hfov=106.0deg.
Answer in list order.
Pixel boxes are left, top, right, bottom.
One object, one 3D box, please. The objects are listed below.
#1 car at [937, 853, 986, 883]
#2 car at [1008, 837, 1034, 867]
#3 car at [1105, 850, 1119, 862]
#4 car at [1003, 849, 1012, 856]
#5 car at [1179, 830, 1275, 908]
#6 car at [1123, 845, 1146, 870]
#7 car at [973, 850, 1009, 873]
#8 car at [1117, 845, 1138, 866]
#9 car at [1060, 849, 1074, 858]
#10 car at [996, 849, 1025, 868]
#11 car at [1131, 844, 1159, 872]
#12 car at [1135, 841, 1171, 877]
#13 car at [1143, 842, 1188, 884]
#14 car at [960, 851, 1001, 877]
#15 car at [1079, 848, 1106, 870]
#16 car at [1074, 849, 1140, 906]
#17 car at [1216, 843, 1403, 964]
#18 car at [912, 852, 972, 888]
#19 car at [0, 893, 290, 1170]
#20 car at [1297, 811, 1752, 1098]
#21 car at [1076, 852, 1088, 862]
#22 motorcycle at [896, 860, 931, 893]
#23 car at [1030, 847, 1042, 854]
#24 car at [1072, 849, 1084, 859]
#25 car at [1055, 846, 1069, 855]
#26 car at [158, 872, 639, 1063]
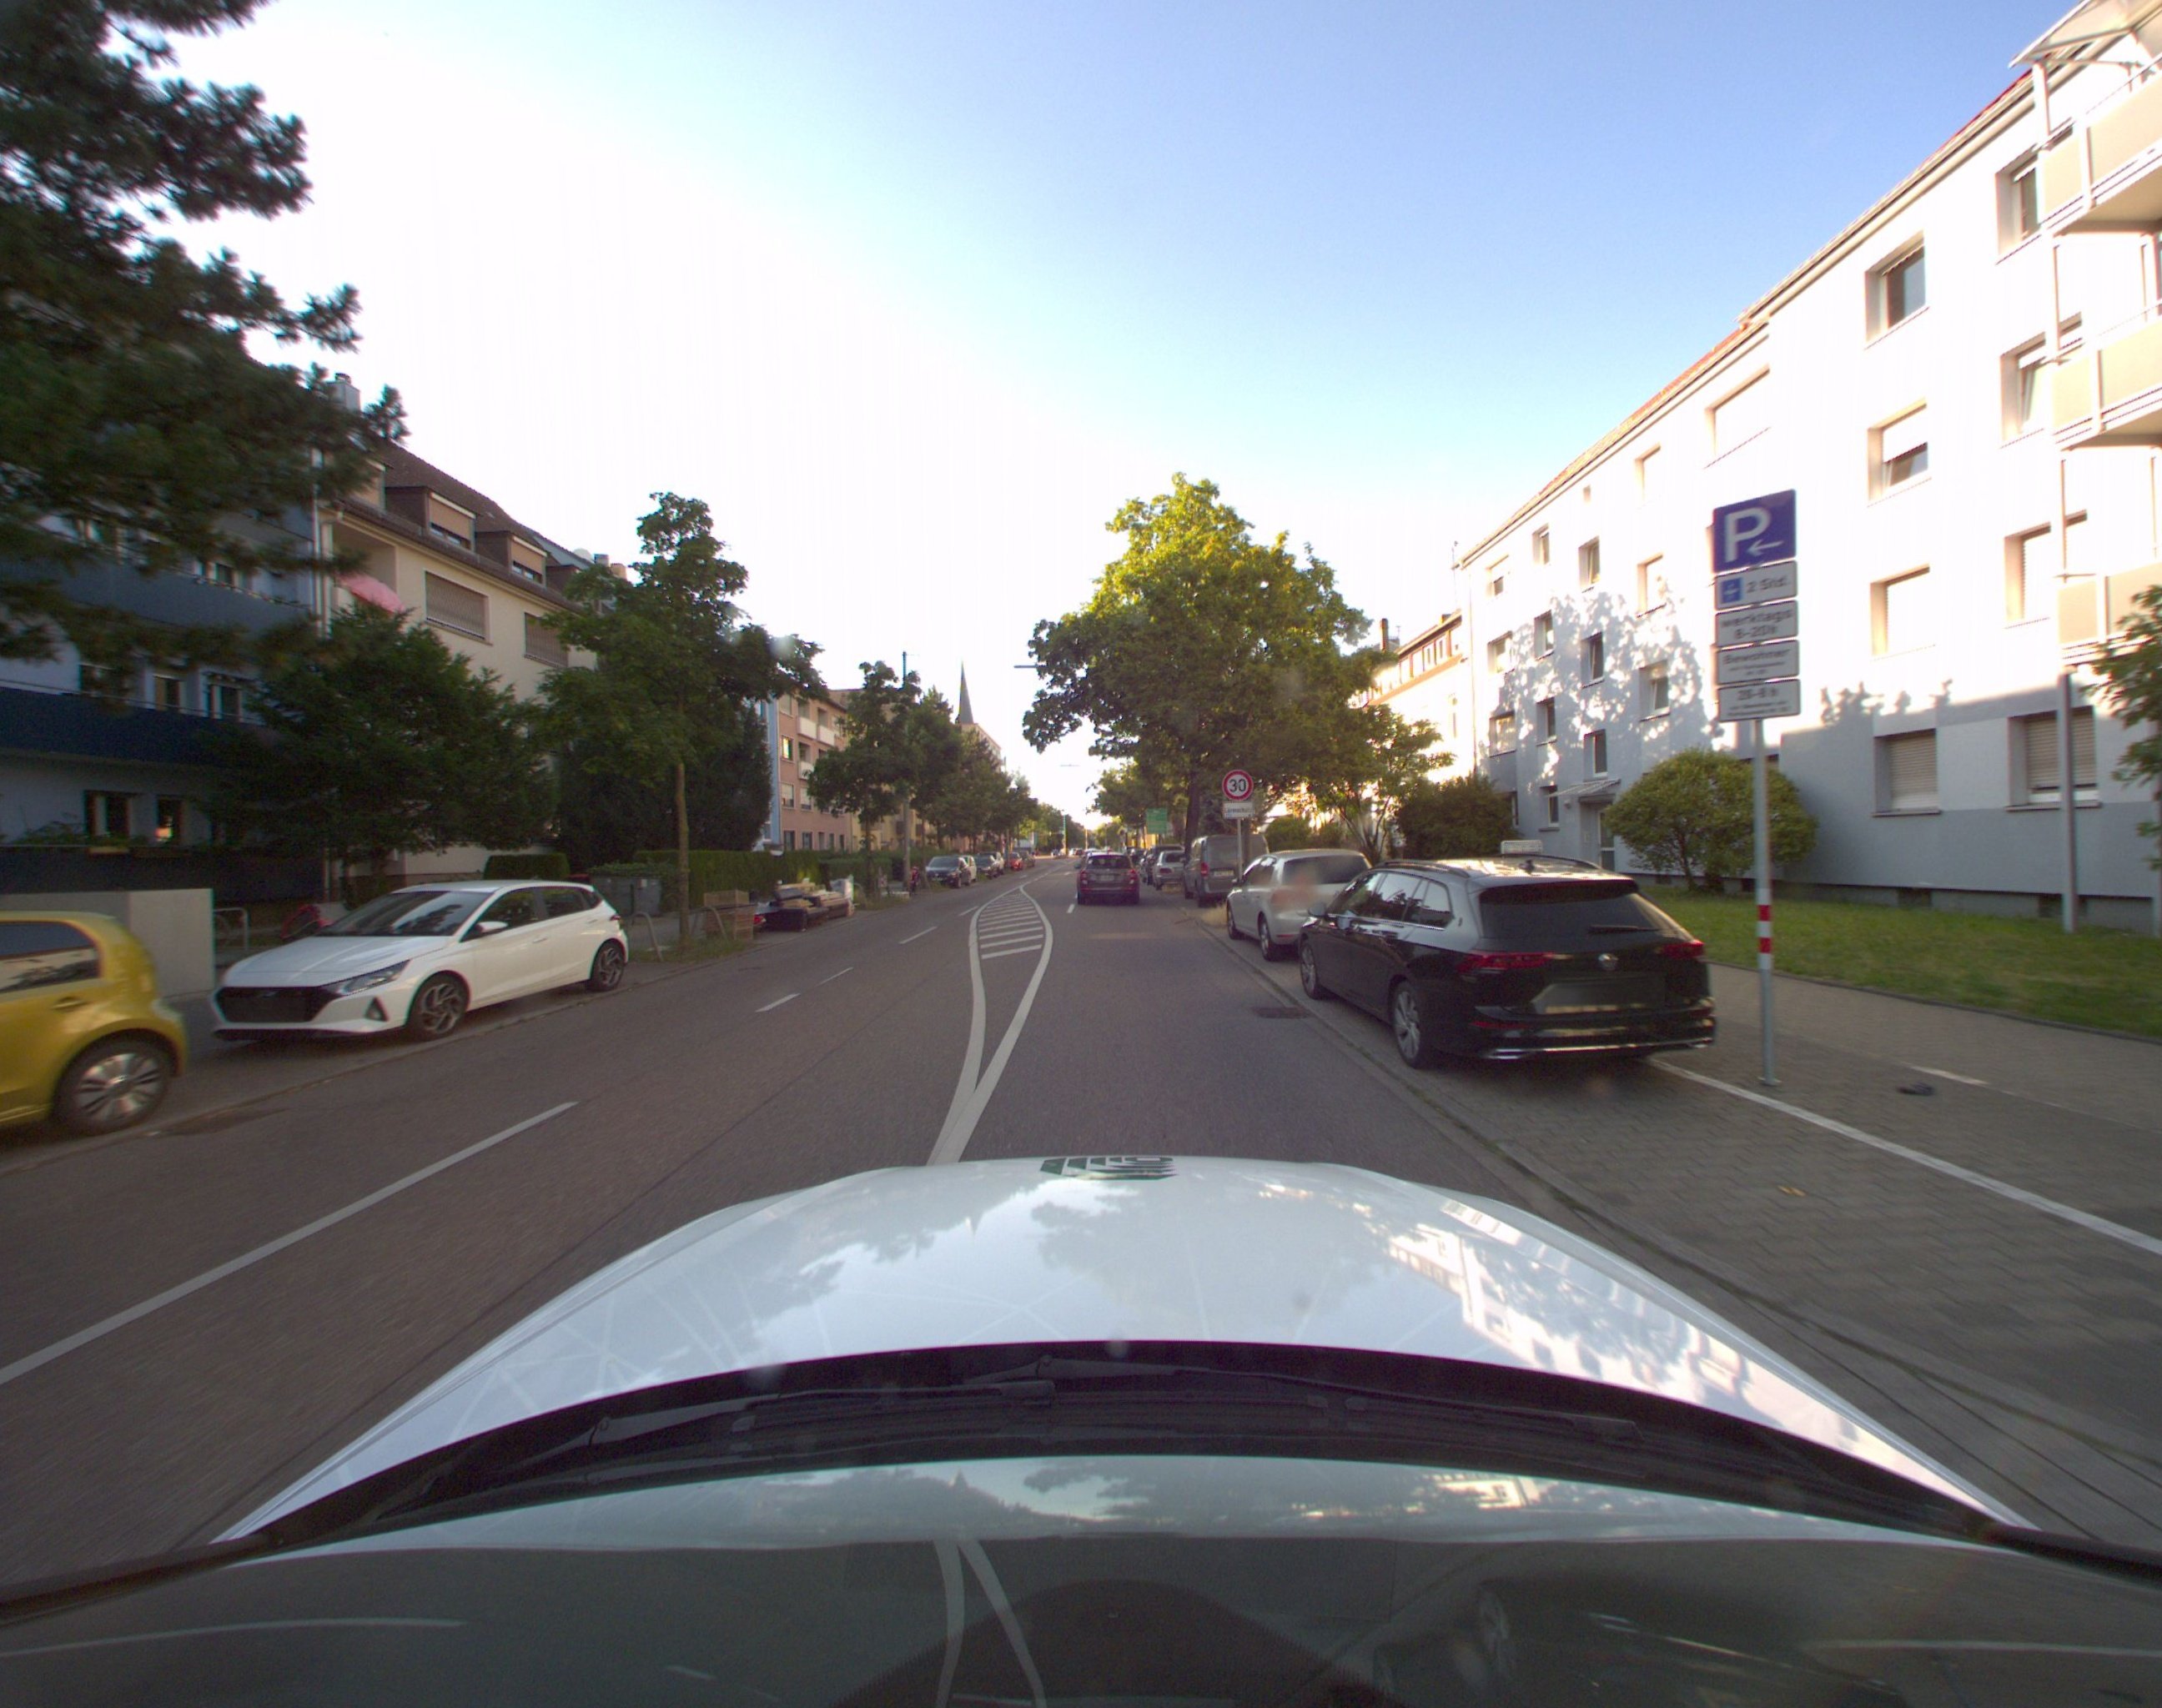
[{"bbox_3d":[-6.302,0.689,43.216,1.773,1.480,3.975,0,1,3],"label":"car"},{"bbox_3d":[-5.738,-0.175,78.392,1.984,2.781,5.504,0,1,0],"label":"car"},{"bbox_3d":[4.642,0.278,122.512,1.642,1.599,3.645,-2,0,-4],"label":"car"},{"bbox_3d":[-18.585,-0.368,205.917,1.991,1.750,3.991,-2,0,-6],"label":"car"},{"bbox_3d":[3.933,0.339,22.835,1.908,1.860,5.637,-1,1,3],"label":"car"},{"bbox_3d":[4.333,0.246,66.261,1.747,1.805,4.003,-4,0,3],"label":"car"},{"bbox_3d":[-6.077,0.466,55.355,1.773,1.480,3.975,0,1,3],"label":"car"},{"bbox_3d":[4.036,0.071,71.729,1.748,1.806,4.002,0,1,2],"label":"car"},{"bbox_3d":[-2.882,-0.050,167.010,1.995,1.750,3.983,-2,0,-12],"label":"car"},{"bbox_3d":[-5.670,0.351,65.825,1.773,1.480,3.975,0,1,3],"label":"car"},{"bbox_3d":[4.272,0.250,54.850,1.747,1.806,4.003,0,1,3],"label":"car"},{"bbox_3d":[3.803,0.234,43.584,1.747,1.806,4.003,0,1,3],"label":"car"},{"bbox_3d":[3.634,0.339,35.521,1.747,1.715,4.003,0,1,3],"label":"car"},{"bbox_3d":[-6.057,0.567,49.655,1.773,1.480,3.975,0,1,3],"label":"car"},{"bbox_3d":[0.881,0.399,60.213,1.885,1.506,3.790,2,0,1],"label":"car"},{"bbox_3d":[0.802,0.606,23.646,1.747,1.492,4.003,0,1,3],"label":"car"},{"bbox_3d":[3.300,0.640,12.591,1.749,1.557,4.103,0,0,0],"label":"car"},{"bbox_3d":[-6.216,0.686,36.781,1.773,1.480,4.037,0,1,3],"label":"car"},{"bbox_3d":[-6.952,1.058,4.305,1.612,1.480,3.875,0,1,3],"label":"car"},{"bbox_3d":[3.183,0.570,6.948,1.747,1.686,4.255,0,1,3],"label":"car"},{"bbox_3d":[0.143,0.451,127.884,1.776,1.480,3.968,0,1,-2],"label":"car"},{"bbox_3d":[-6.381,0.845,31.174,0.736,1.204,2.144,0,1,4],"label":"motorcycle"},{"bbox_3d":[-10.483,-0.811,189.387,1.652,1.599,3.572,-2,0,-24],"label":"car"},{"bbox_3d":[-0.651,0.028,157.972,1.990,1.750,3.994,-2,0,-4],"label":"car"},{"bbox_3d":[-4.204,-0.756,179.297,1.998,1.750,3.977,-2,0,-17],"label":"car"},{"bbox_3d":[-6.917,1.011,8.938,1.773,1.494,3.975,0,1,3],"label":"car"}]
